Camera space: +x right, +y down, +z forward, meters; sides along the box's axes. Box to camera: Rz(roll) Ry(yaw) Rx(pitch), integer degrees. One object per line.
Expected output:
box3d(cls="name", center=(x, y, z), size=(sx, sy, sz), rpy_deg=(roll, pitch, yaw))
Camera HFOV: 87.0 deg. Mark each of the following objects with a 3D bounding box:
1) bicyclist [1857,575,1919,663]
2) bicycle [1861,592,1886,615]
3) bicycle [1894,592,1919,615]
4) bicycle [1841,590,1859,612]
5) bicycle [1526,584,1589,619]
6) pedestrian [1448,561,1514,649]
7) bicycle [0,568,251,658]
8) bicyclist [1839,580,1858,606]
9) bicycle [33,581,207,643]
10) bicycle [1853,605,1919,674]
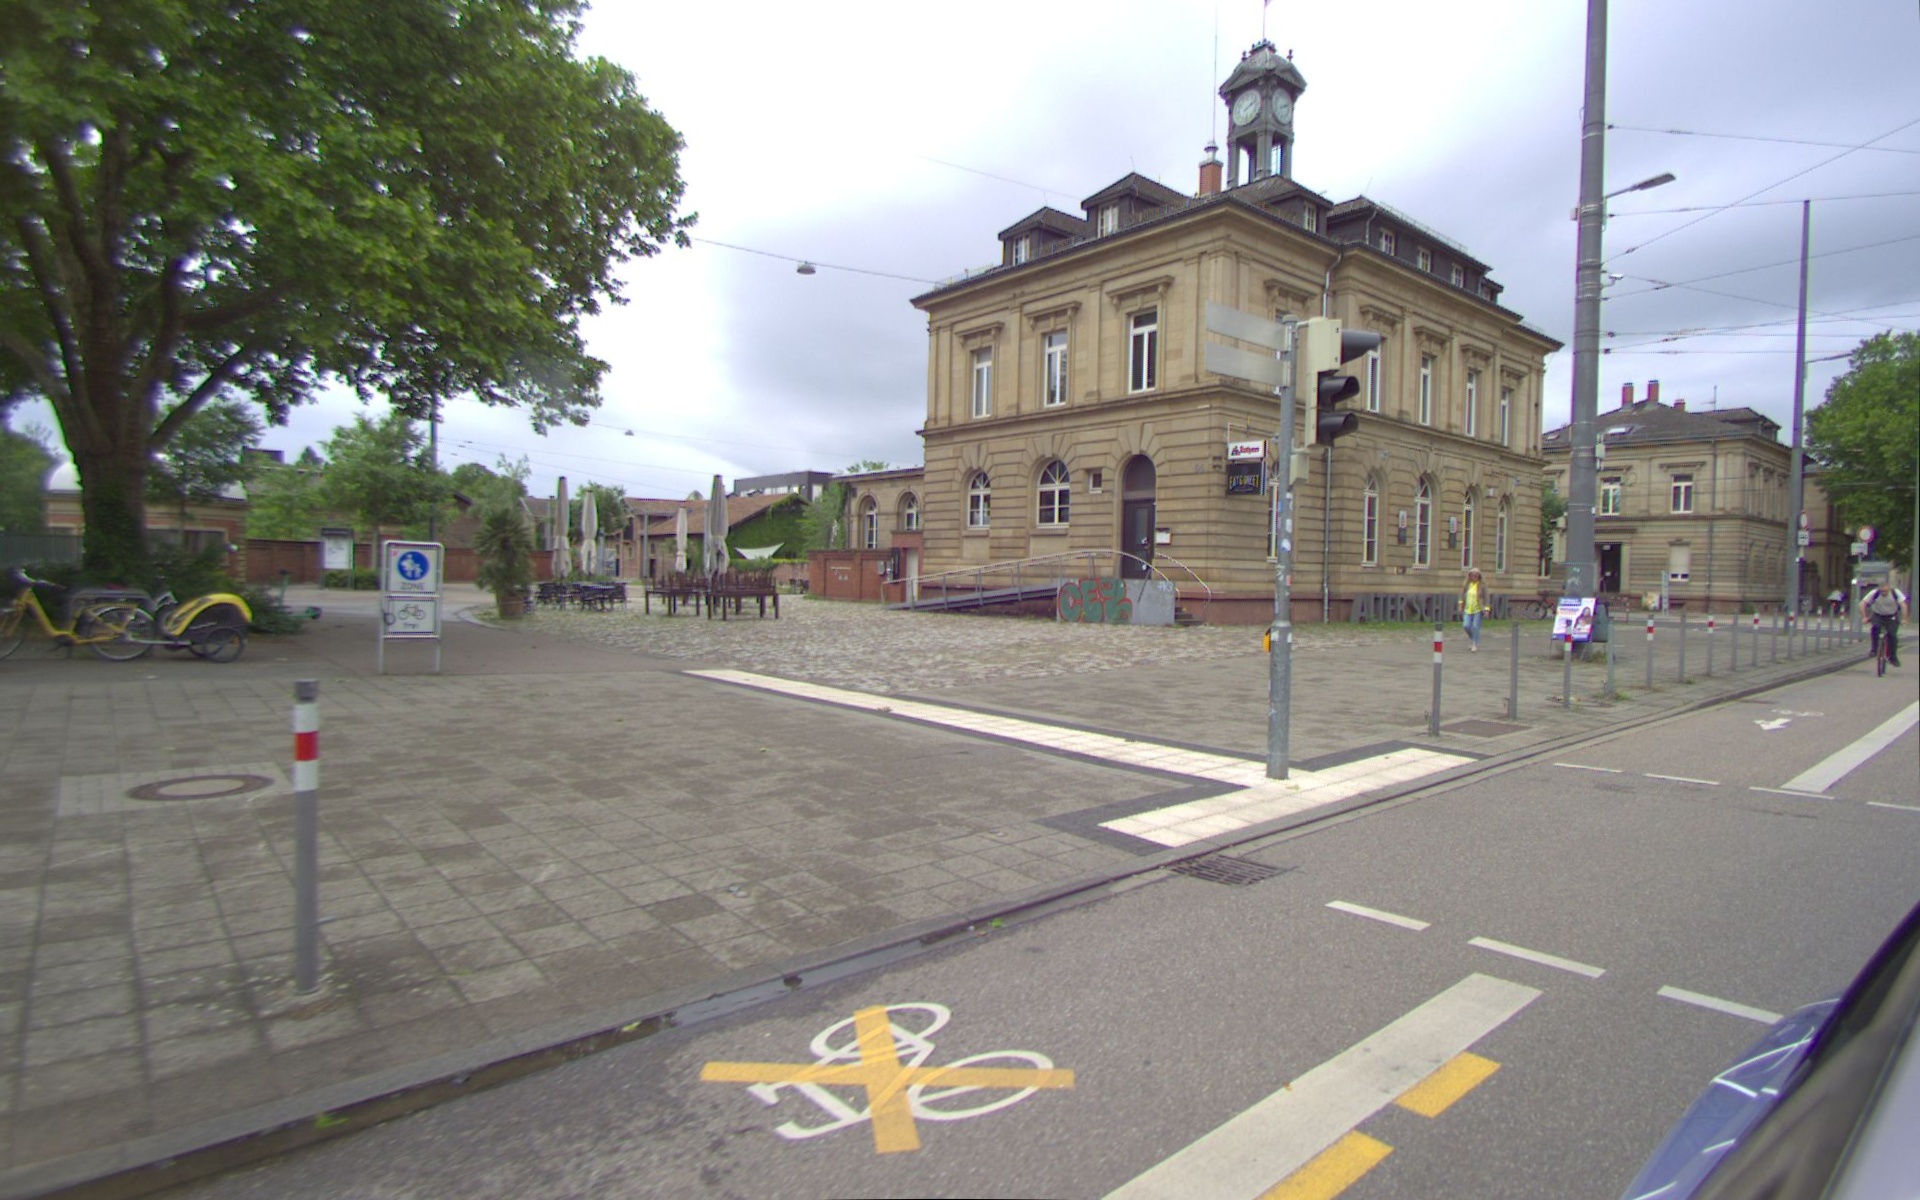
box3d(cls="bicyclist", center=(17.937, 0.341, 19.507), size=(1.169, 1.620, 0.811), rpy_deg=(-1, 3, -42))
box3d(cls="bicycle", center=(45.068, 0.176, 49.935), size=(1.670, 1.081, 0.718), rpy_deg=(-1, 3, -42))
box3d(cls="bicycle", center=(45.519, 0.158, 48.649), size=(1.670, 1.081, 0.718), rpy_deg=(-1, 3, -42))
box3d(cls="bicycle", center=(49.644, 0.045, 56.455), size=(0.674, 1.179, 2.083), rpy_deg=(2, 3, 41))
box3d(cls="bicycle", center=(21.204, 0.036, 35.911), size=(1.844, 1.091, 0.541), rpy_deg=(5, 4, 33))
box3d(cls="pedestrian", center=(10.455, 0.083, 20.316), size=(0.979, 1.698, 0.722), rpy_deg=(0, 2, -30))
box3d(cls="bicycle", center=(-11.403, 0.180, 13.273), size=(3.347, 1.082, 0.902), rpy_deg=(2, 0, -42))
box3d(cls="bicyclist", center=(49.696, -0.379, 56.592), size=(0.691, 1.417, 0.805), rpy_deg=(2, 2, 37))
box3d(cls="bicycle", center=(-12.957, 0.163, 15.669), size=(2.046, 0.882, 0.610), rpy_deg=(0, 2, -42))
box3d(cls="bicycle", center=(17.990, 0.728, 19.562), size=(2.238, 1.184, 0.814), rpy_deg=(-1, 3, -42))
